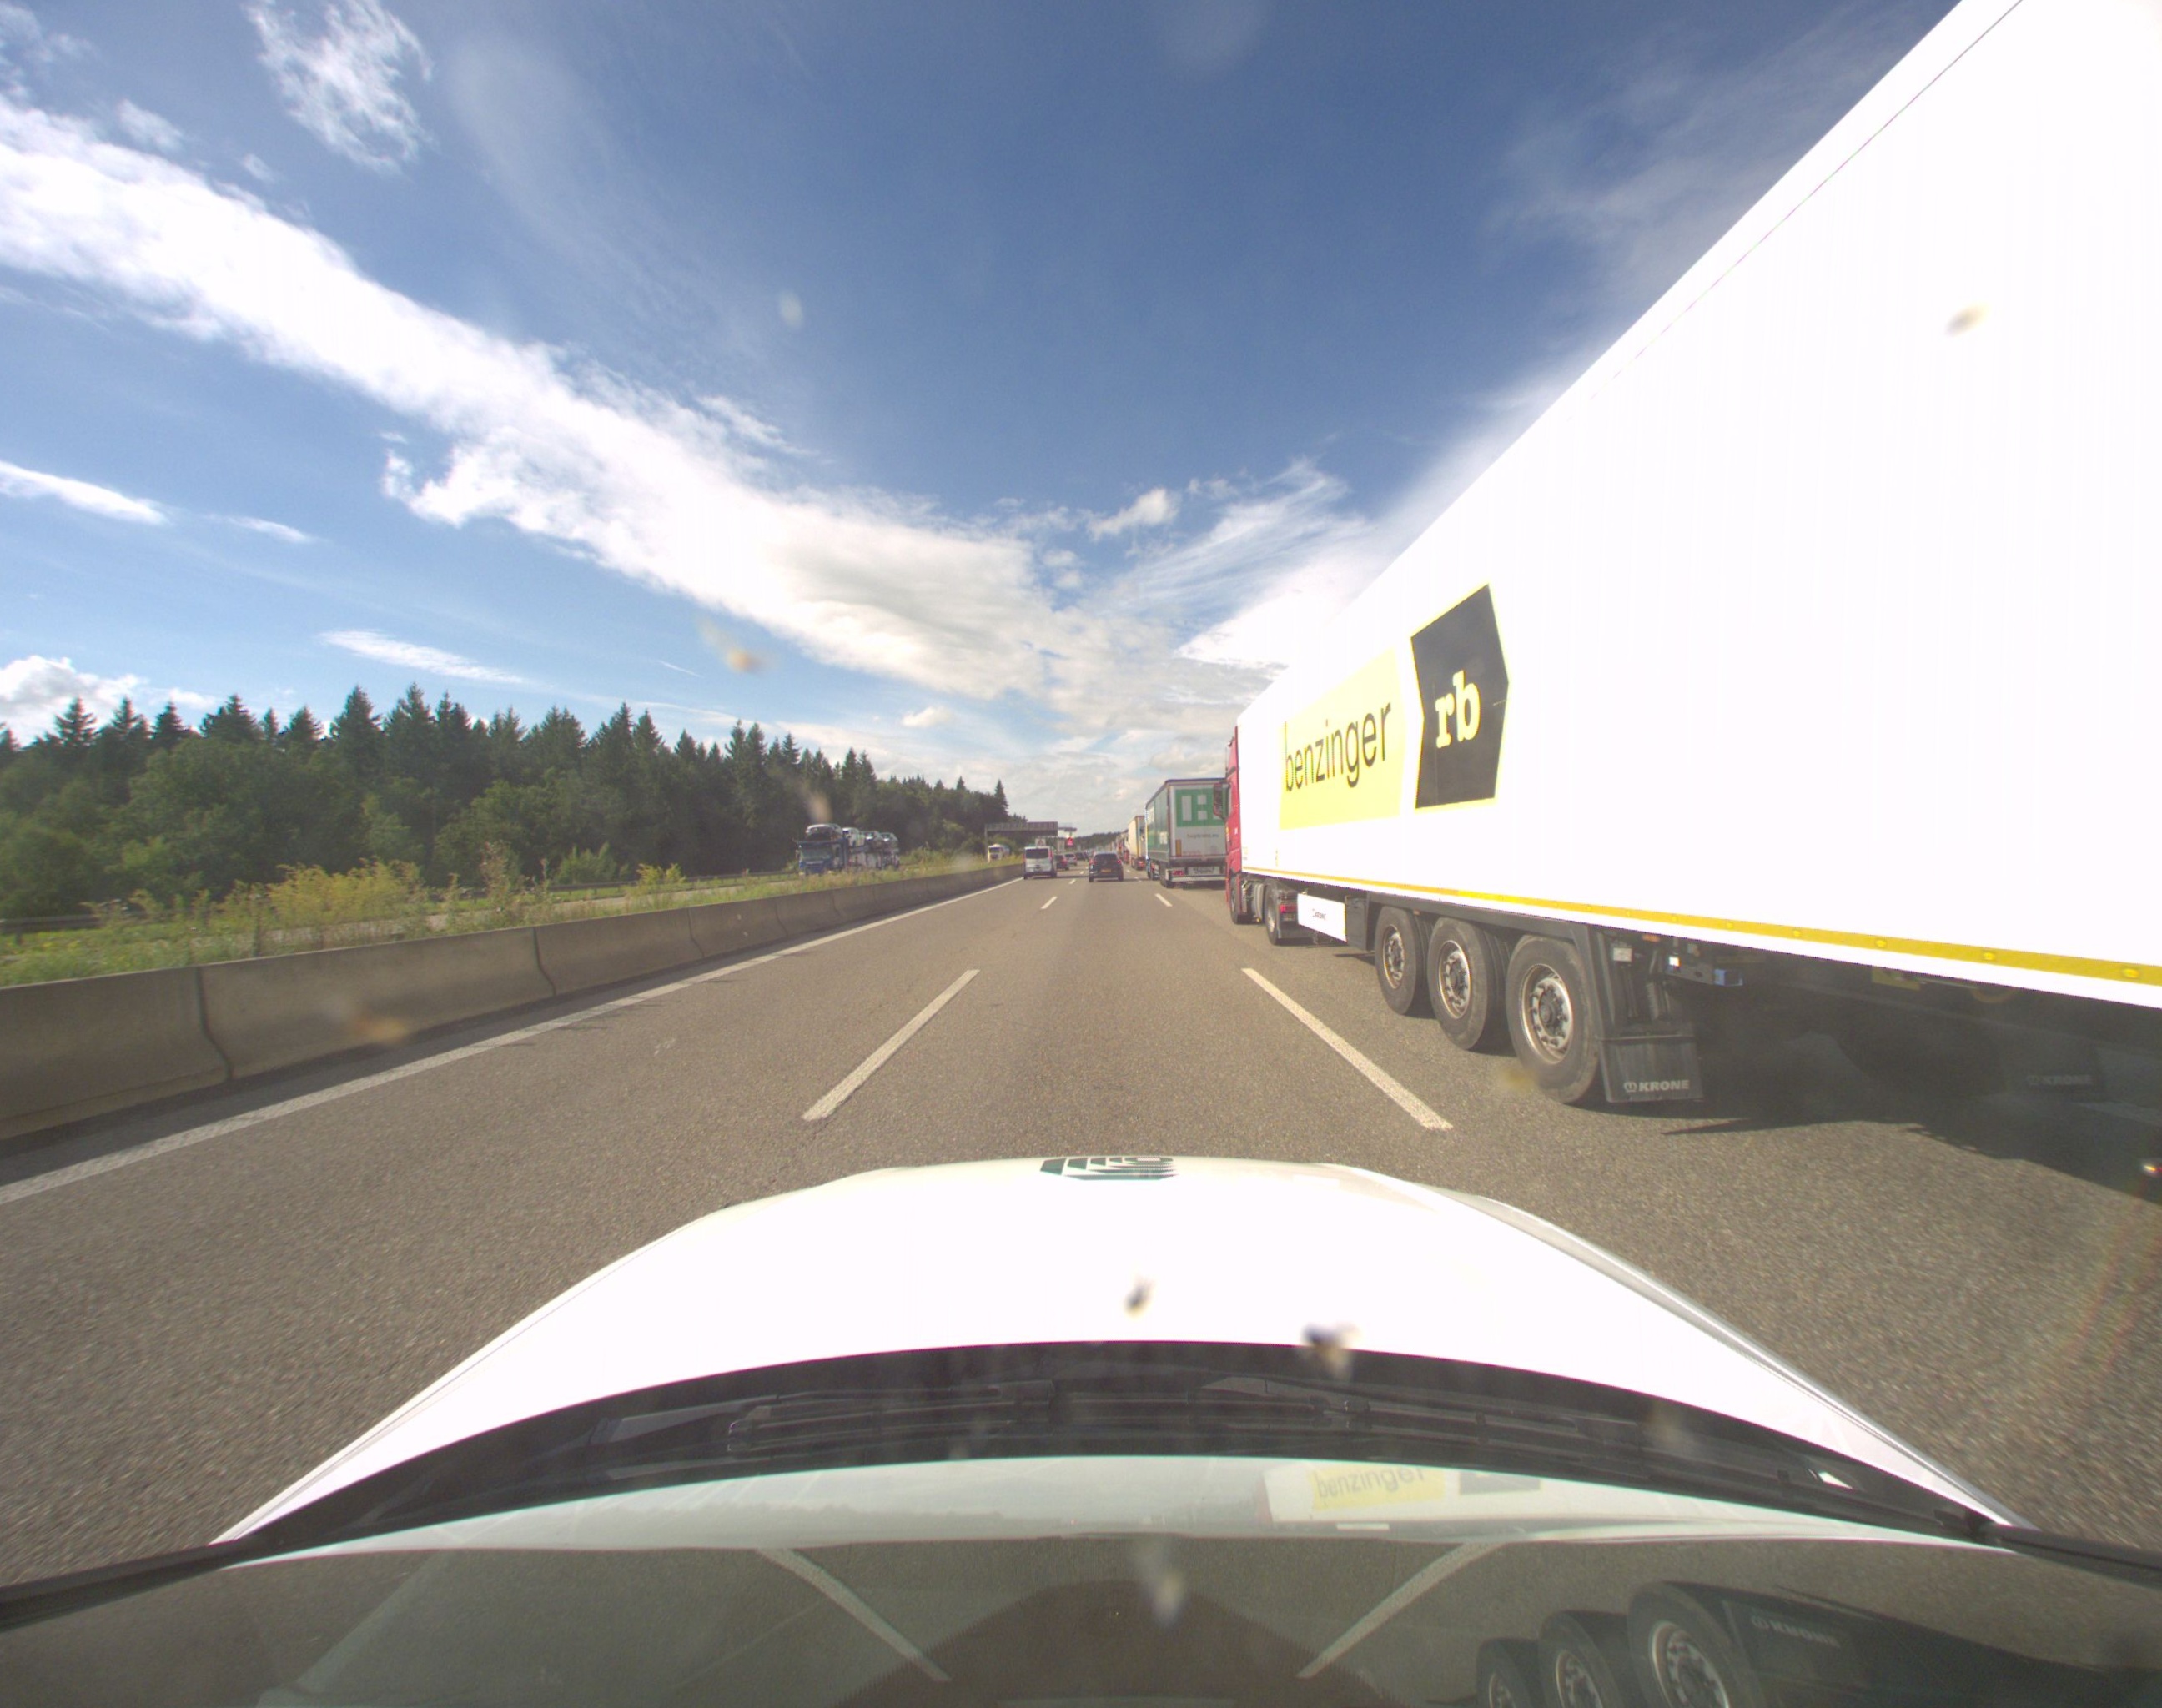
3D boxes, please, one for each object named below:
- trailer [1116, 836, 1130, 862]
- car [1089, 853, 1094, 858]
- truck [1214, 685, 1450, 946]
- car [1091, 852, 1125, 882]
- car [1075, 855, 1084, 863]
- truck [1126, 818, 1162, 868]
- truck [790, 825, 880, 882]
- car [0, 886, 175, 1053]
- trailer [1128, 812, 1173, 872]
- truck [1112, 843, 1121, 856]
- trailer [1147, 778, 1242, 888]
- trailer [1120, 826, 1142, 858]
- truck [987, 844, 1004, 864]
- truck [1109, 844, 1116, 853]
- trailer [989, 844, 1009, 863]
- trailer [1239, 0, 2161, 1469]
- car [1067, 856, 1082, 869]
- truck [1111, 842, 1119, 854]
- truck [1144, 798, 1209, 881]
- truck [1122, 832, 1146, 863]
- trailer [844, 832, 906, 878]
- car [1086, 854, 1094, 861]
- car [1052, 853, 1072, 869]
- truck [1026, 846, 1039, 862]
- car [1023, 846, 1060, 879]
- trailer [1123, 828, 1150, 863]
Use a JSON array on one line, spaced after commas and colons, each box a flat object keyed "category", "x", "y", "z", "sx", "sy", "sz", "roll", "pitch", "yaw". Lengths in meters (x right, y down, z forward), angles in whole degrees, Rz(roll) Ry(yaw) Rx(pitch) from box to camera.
[{"category": "trailer", "x": 7.168, "y": -0.768, "z": 139.935, "sx": 2.141, "sy": 4.259, "sz": 8.444, "roll": -2, "pitch": 0, "yaw": 2}, {"category": "car", "x": 2.634, "y": 0.402, "z": 203.916, "sx": 1.356, "sy": 1.301, "sz": 3.085, "roll": 1, "pitch": 0, "yaw": 1}, {"category": "truck", "x": 4.276, "y": -0.570, "z": 15.281, "sx": 2.791, "sy": 3.939, "sz": 5.828, "roll": -1, "pitch": 0, "yaw": 2}, {"category": "car", "x": 1.407, "y": 0.648, "z": 42.705, "sx": 1.690, "sy": 1.483, "sz": 4.161, "roll": 0, "pitch": 0, "yaw": 2}, {"category": "car", "x": -0.218, "y": 0.788, "z": 133.292, "sx": 1.429, "sy": 1.310, "sz": 3.534, "roll": 1, "pitch": 0, "yaw": 1}, {"category": "truck", "x": 5.468, "y": -0.888, "z": 71.217, "sx": 2.698, "sy": 4.059, "sz": 6.364, "roll": -2, "pitch": 0, "yaw": 2}, {"category": "truck", "x": -17.511, "y": -0.027, "z": 59.028, "sx": 2.821, "sy": 3.689, "sz": 11.135, "roll": -2, "pitch": 0, "yaw": 1}, {"category": "car", "x": -11.524, "y": 1.165, "z": 7.688, "sx": 1.758, "sy": 1.544, "sz": 3.643, "roll": 1, "pitch": 0, "yaw": 2}, {"category": "trailer", "x": 5.231, "y": -0.856, "z": 63.669, "sx": 2.693, "sy": 4.081, "sz": 12.949, "roll": -2, "pitch": 0, "yaw": 2}, {"category": "truck", "x": 8.310, "y": -1.011, "z": 188.328, "sx": 1.986, "sy": 2.932, "sz": 4.984, "roll": 1, "pitch": 0, "yaw": 2}, {"category": "trailer", "x": 4.585, "y": -0.724, "z": 35.841, "sx": 2.651, "sy": 3.869, "sz": 13.400, "roll": -2, "pitch": 0, "yaw": 2}, {"category": "trailer", "x": 7.113, "y": -1.558, "z": 116.404, "sx": 2.791, "sy": 4.244, "sz": 11.063, "roll": -2, "pitch": 0, "yaw": 2}, {"category": "truck", "x": -15.012, "y": -0.022, "z": 143.954, "sx": 2.310, "sy": 3.273, "sz": 6.103, "roll": -2, "pitch": 0, "yaw": 0}, {"category": "truck", "x": 10.054, "y": -1.758, "z": 260.010, "sx": 1.986, "sy": 3.052, "sz": 4.984, "roll": 1, "pitch": 0, "yaw": 2}, {"category": "trailer", "x": -14.981, "y": -0.161, "z": 149.535, "sx": 2.314, "sy": 3.284, "sz": 10.874, "roll": -2, "pitch": 0, "yaw": 0}, {"category": "trailer", "x": 4.029, "y": -0.575, "z": 8.100, "sx": 2.781, "sy": 3.939, "sz": 13.075, "roll": -1, "pitch": 0, "yaw": 2}, {"category": "car", "x": -0.741, "y": 0.922, "z": 91.407, "sx": 1.494, "sy": 1.396, "sz": 3.477, "roll": 1, "pitch": 0, "yaw": 2}, {"category": "truck", "x": 9.004, "y": -1.613, "z": 215.707, "sx": 1.986, "sy": 3.052, "sz": 4.984, "roll": 1, "pitch": 0, "yaw": 2}, {"category": "truck", "x": 4.810, "y": -0.671, "z": 42.154, "sx": 2.637, "sy": 3.869, "sz": 6.999, "roll": -2, "pitch": 0, "yaw": 2}, {"category": "truck", "x": 6.316, "y": -0.756, "z": 97.524, "sx": 2.524, "sy": 3.584, "sz": 6.732, "roll": -2, "pitch": 0, "yaw": 2}, {"category": "trailer", "x": -17.291, "y": 0.098, "z": 69.091, "sx": 2.789, "sy": 3.528, "sz": 8.954, "roll": -2, "pitch": 0, "yaw": 1}, {"category": "car", "x": 1.644, "y": 0.592, "z": 152.770, "sx": 1.429, "sy": 1.310, "sz": 3.534, "roll": 1, "pitch": 0, "yaw": 1}, {"category": "car", "x": -1.630, "y": 0.585, "z": 70.141, "sx": 1.494, "sy": 1.396, "sz": 3.477, "roll": -1, "pitch": 0, "yaw": 2}, {"category": "truck", "x": -13.486, "y": 0.065, "z": 228.115, "sx": 2.702, "sy": 4.244, "sz": 10.345, "roll": -2, "pitch": 0, "yaw": 1}, {"category": "car", "x": -2.432, "y": 0.512, "z": 51.347, "sx": 1.926, "sy": 1.979, "sz": 5.100, "roll": 1, "pitch": 0, "yaw": 2}, {"category": "trailer", "x": 6.120, "y": -0.857, "z": 91.318, "sx": 2.531, "sy": 3.653, "sz": 10.631, "roll": -2, "pitch": 0, "yaw": 2}]
